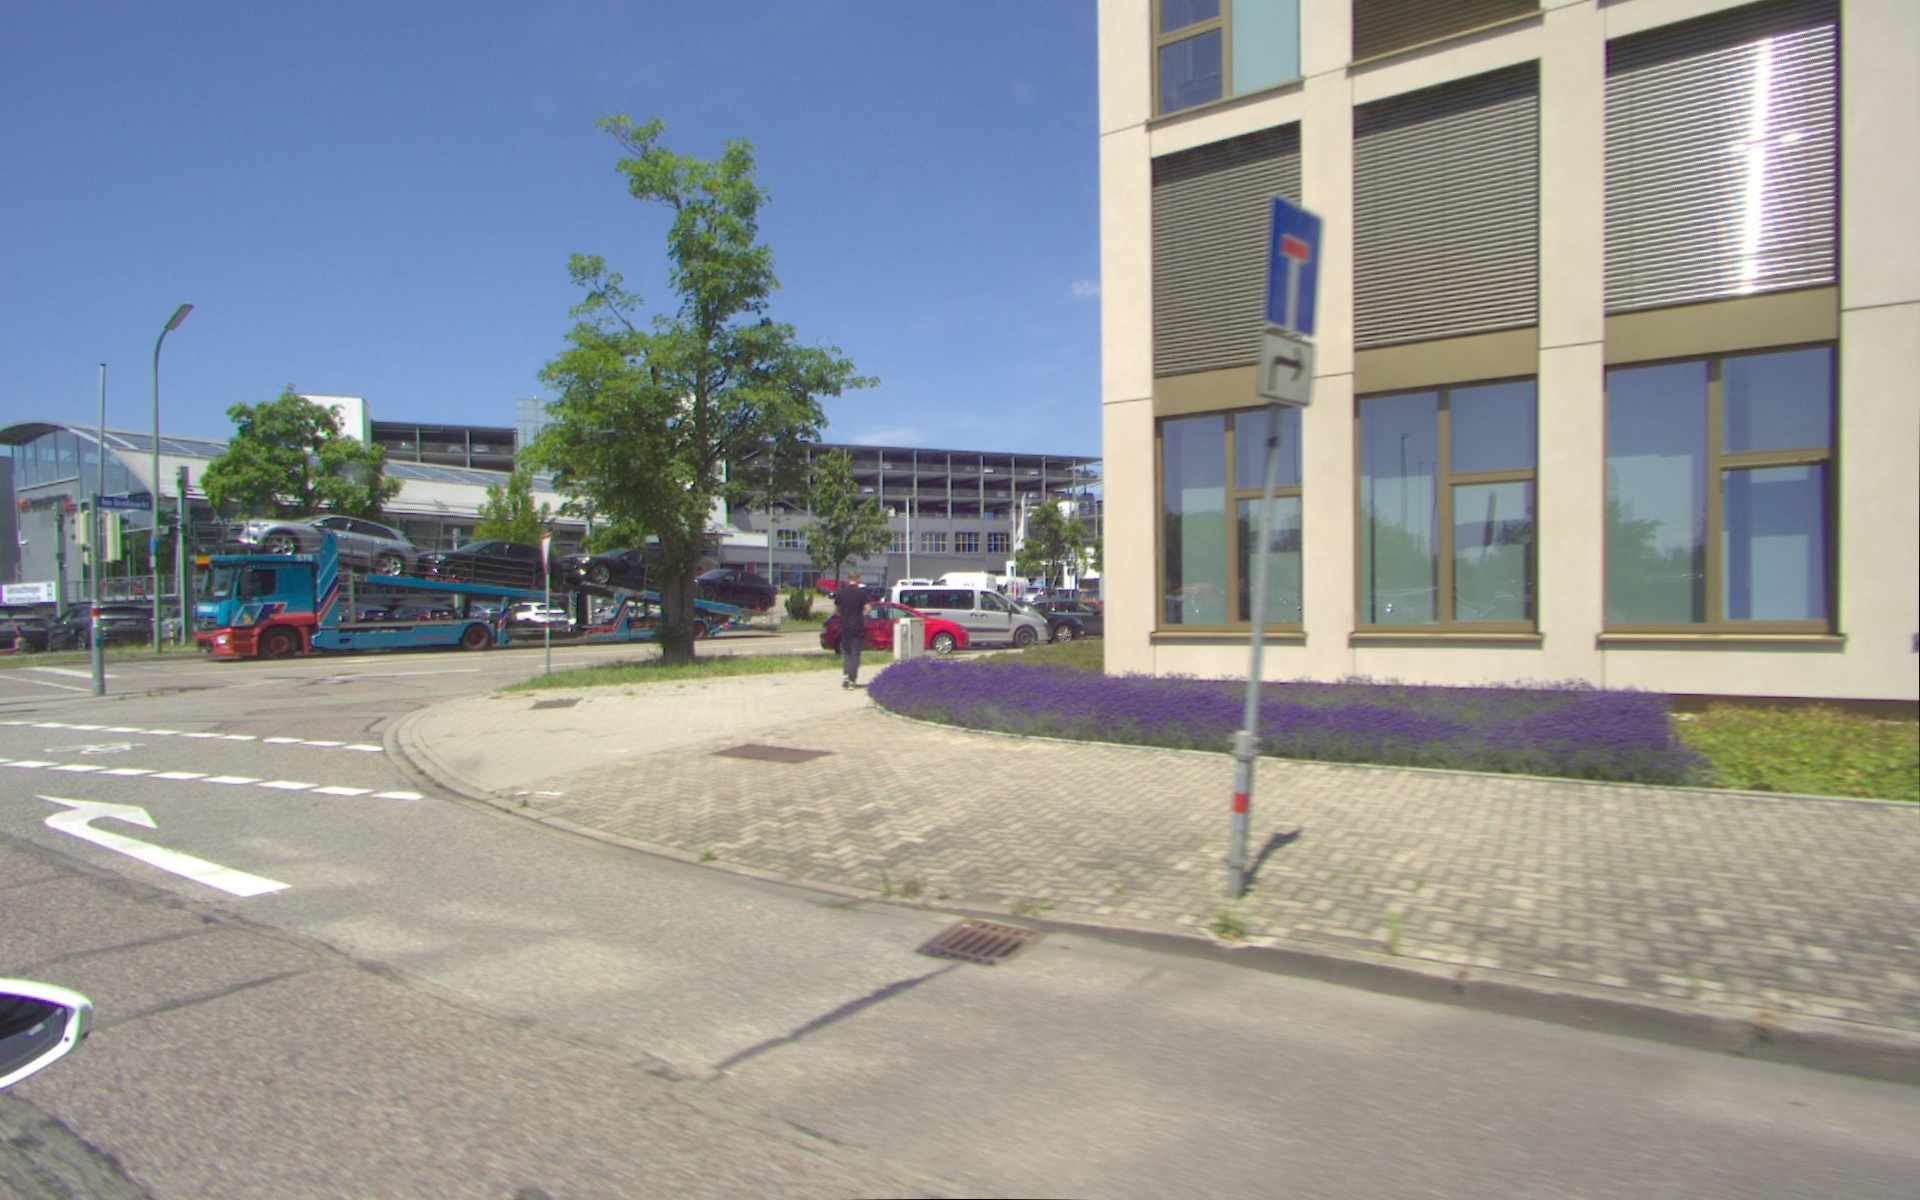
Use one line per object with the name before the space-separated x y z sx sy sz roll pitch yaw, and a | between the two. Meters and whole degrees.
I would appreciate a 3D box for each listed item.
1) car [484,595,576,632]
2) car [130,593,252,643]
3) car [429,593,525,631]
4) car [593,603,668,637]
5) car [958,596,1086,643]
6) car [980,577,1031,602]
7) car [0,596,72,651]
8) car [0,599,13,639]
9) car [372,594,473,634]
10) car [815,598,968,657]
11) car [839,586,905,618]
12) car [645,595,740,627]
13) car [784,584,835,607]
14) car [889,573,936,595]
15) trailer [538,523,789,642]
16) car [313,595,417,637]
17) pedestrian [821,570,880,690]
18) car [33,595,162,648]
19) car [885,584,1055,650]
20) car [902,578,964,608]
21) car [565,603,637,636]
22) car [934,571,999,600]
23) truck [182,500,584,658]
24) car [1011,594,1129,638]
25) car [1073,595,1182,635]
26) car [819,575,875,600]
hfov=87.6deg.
car | -20.523 0.604 47.711 4.408 1.662 1.824 0 1 31
car | -27.523 0.598 35.819 4.375 1.662 1.990 0 1 31
car | -21.933 0.508 45.407 4.408 1.662 1.824 0 1 31
car | -18.394 1.084 55.882 3.661 1.801 1.738 -1 1 -32
car | 2.017 0.615 32.943 3.924 1.483 1.718 -1 1 -9
car | 3.867 -0.881 85.040 3.943 2.040 1.989 0 1 33
car | -30.067 0.694 31.530 4.205 1.662 1.990 0 1 31
car | -50.759 1.012 50.494 1.971 2.040 3.979 0 1 32
car | -23.297 0.575 43.386 4.407 1.662 1.825 0 1 30
car | -1.875 0.703 26.795 3.924 1.454 1.609 -1 1 -9
car | -5.872 0.153 66.579 3.941 2.040 1.990 0 1 31
car | -14.534 0.548 54.502 4.704 1.662 1.820 -1 1 -36
car | -12.191 -0.392 81.057 3.941 1.810 1.730 0 1 31
car | -4.720 -1.546 98.579 4.255 2.040 1.990 0 1 31
trailer | -11.333 -0.623 39.499 3.055 4.136 9.576 1 1 37
car | -24.591 0.623 41.353 4.408 1.662 1.824 0 1 31
pedestrian | -1.755 0.466 16.222 0.758 1.870 0.867 -1 2 4
car | -29.021 0.661 33.661 4.490 1.662 1.990 0 1 31
car | 0.267 0.480 29.933 4.814 1.840 1.703 -1 1 -11
car | -1.893 -0.458 69.939 3.941 2.040 1.840 0 1 31
car | -20.746 1.101 57.910 3.713 1.795 1.761 -1 1 -29
car | 0.462 -1.075 75.725 4.576 2.040 1.990 0 1 31
truck | -17.424 -0.579 31.417 3.060 4.137 10.578 1 1 37
car | 3.959 0.558 36.257 3.924 1.483 1.718 -1 1 -9
car | 6.587 0.581 39.604 3.923 1.483 1.718 -1 1 -7
car | -9.541 -1.068 84.396 4.284 2.040 1.991 0 1 29
